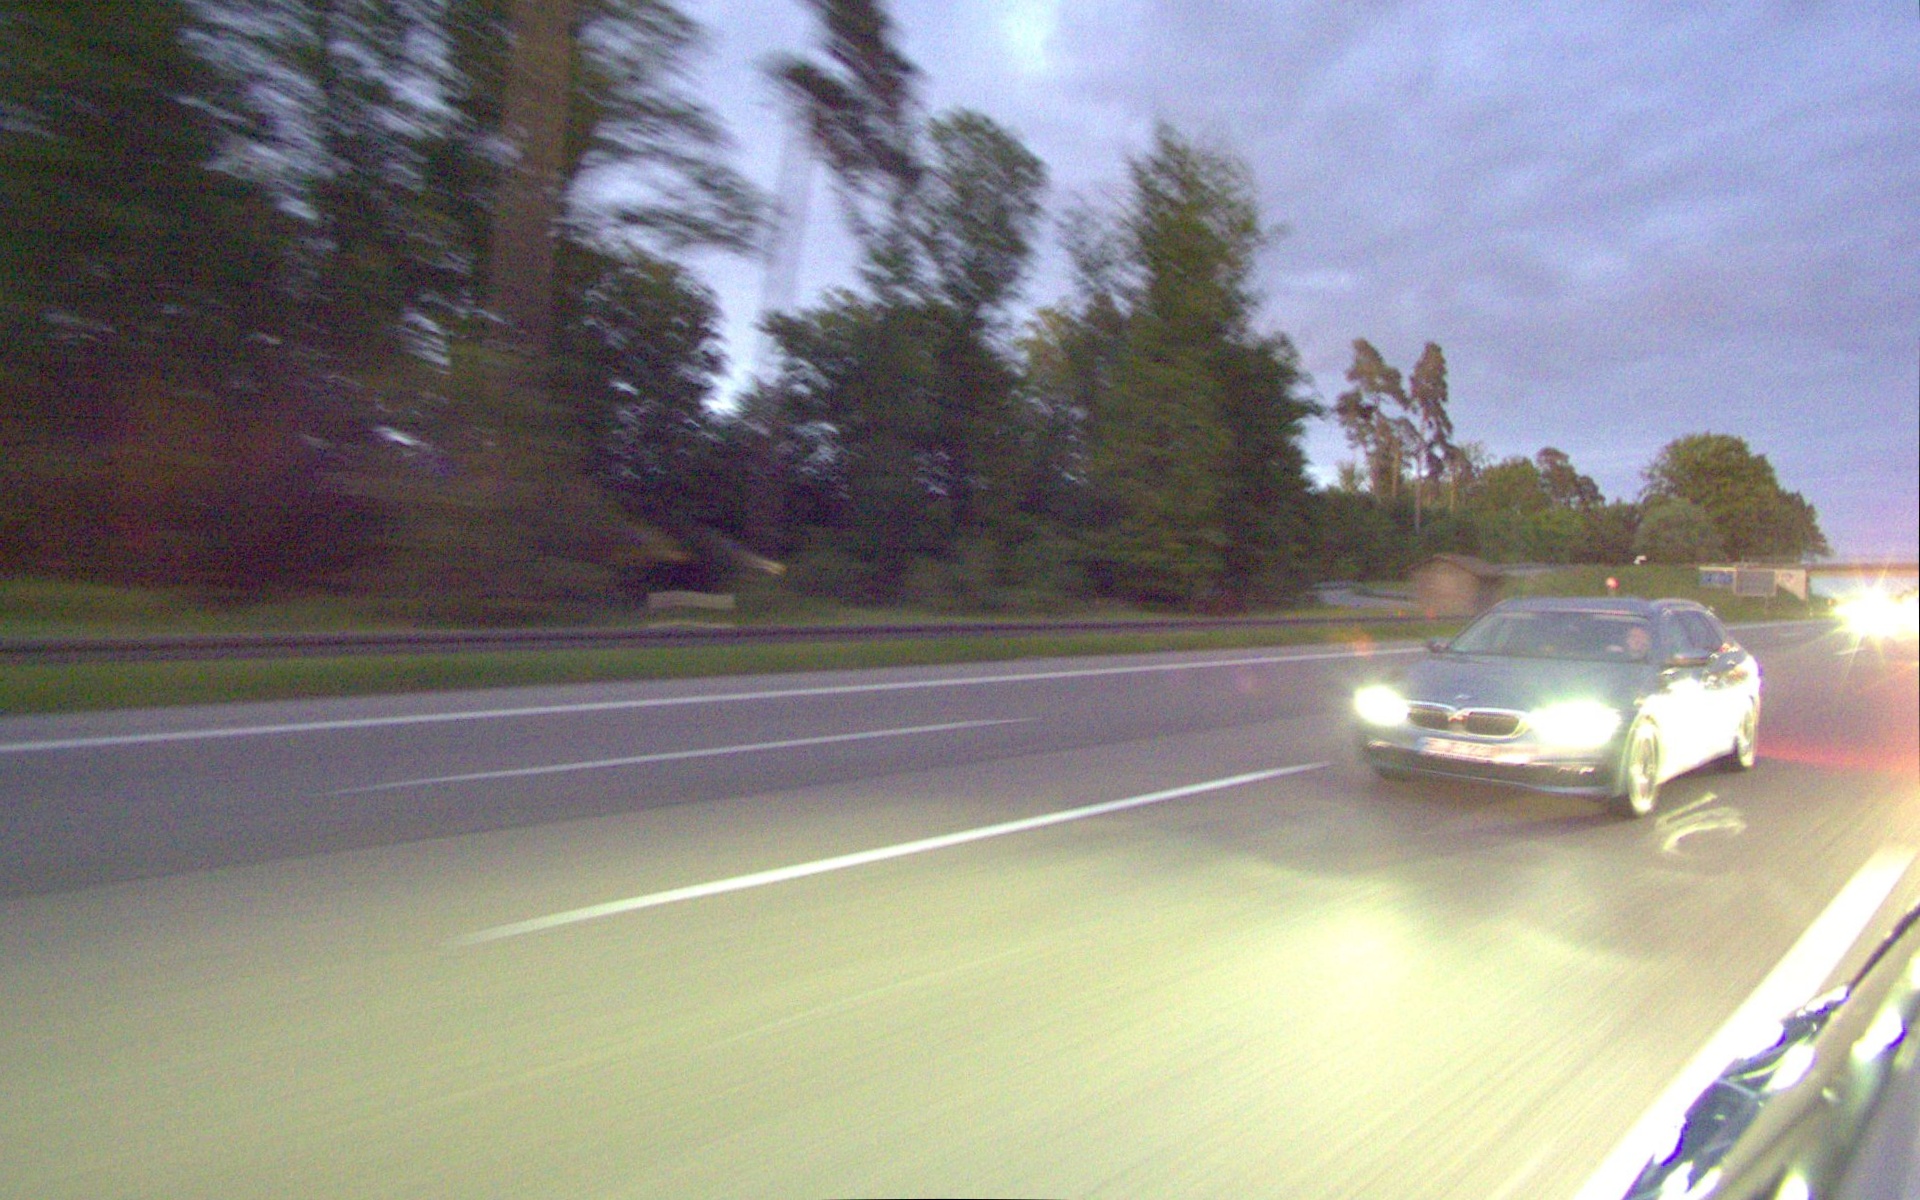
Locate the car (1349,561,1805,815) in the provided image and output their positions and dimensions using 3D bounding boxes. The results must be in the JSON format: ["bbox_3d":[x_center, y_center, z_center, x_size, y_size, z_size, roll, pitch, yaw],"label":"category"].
[{"bbox_3d":[5.493,0.579,8.644,5.140,1.556,1.912,2,0,-42],"label":"car"}]

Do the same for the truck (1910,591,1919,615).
[{"bbox_3d":[170.171,0.548,178.394,3.133,4.062,10.391,1,0,40],"label":"truck"}]
